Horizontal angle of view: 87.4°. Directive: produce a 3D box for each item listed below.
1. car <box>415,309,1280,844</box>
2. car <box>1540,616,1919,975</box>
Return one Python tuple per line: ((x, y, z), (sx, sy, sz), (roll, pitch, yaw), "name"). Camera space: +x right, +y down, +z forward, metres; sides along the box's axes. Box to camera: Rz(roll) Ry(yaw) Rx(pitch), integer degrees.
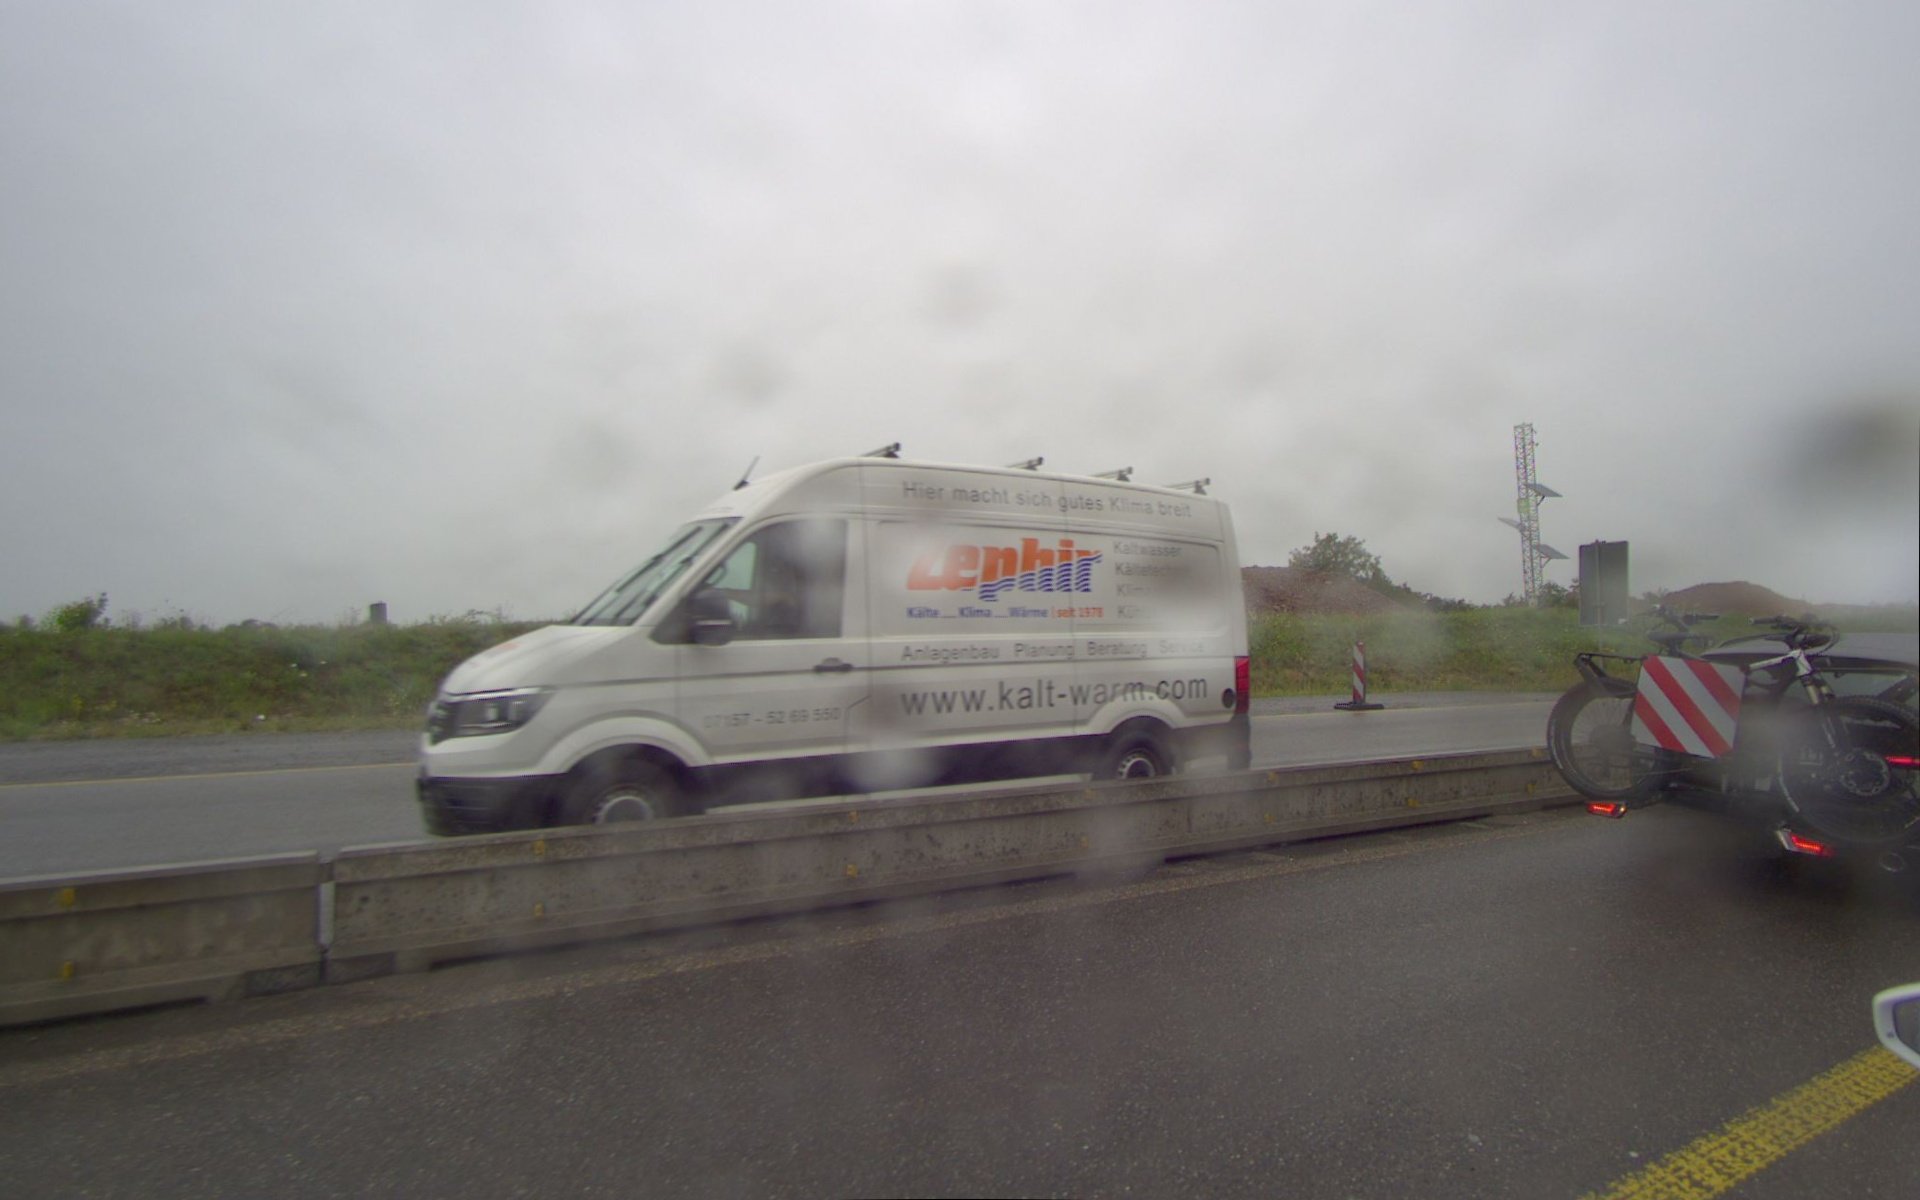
((-0.538, -0.055, 7.221), (5.888, 2.582, 2.014), (1, -1, -30), "car")
((6.226, 0.891, 6.500), (5.560, 1.482, 1.727), (0, 0, -29), "car")
